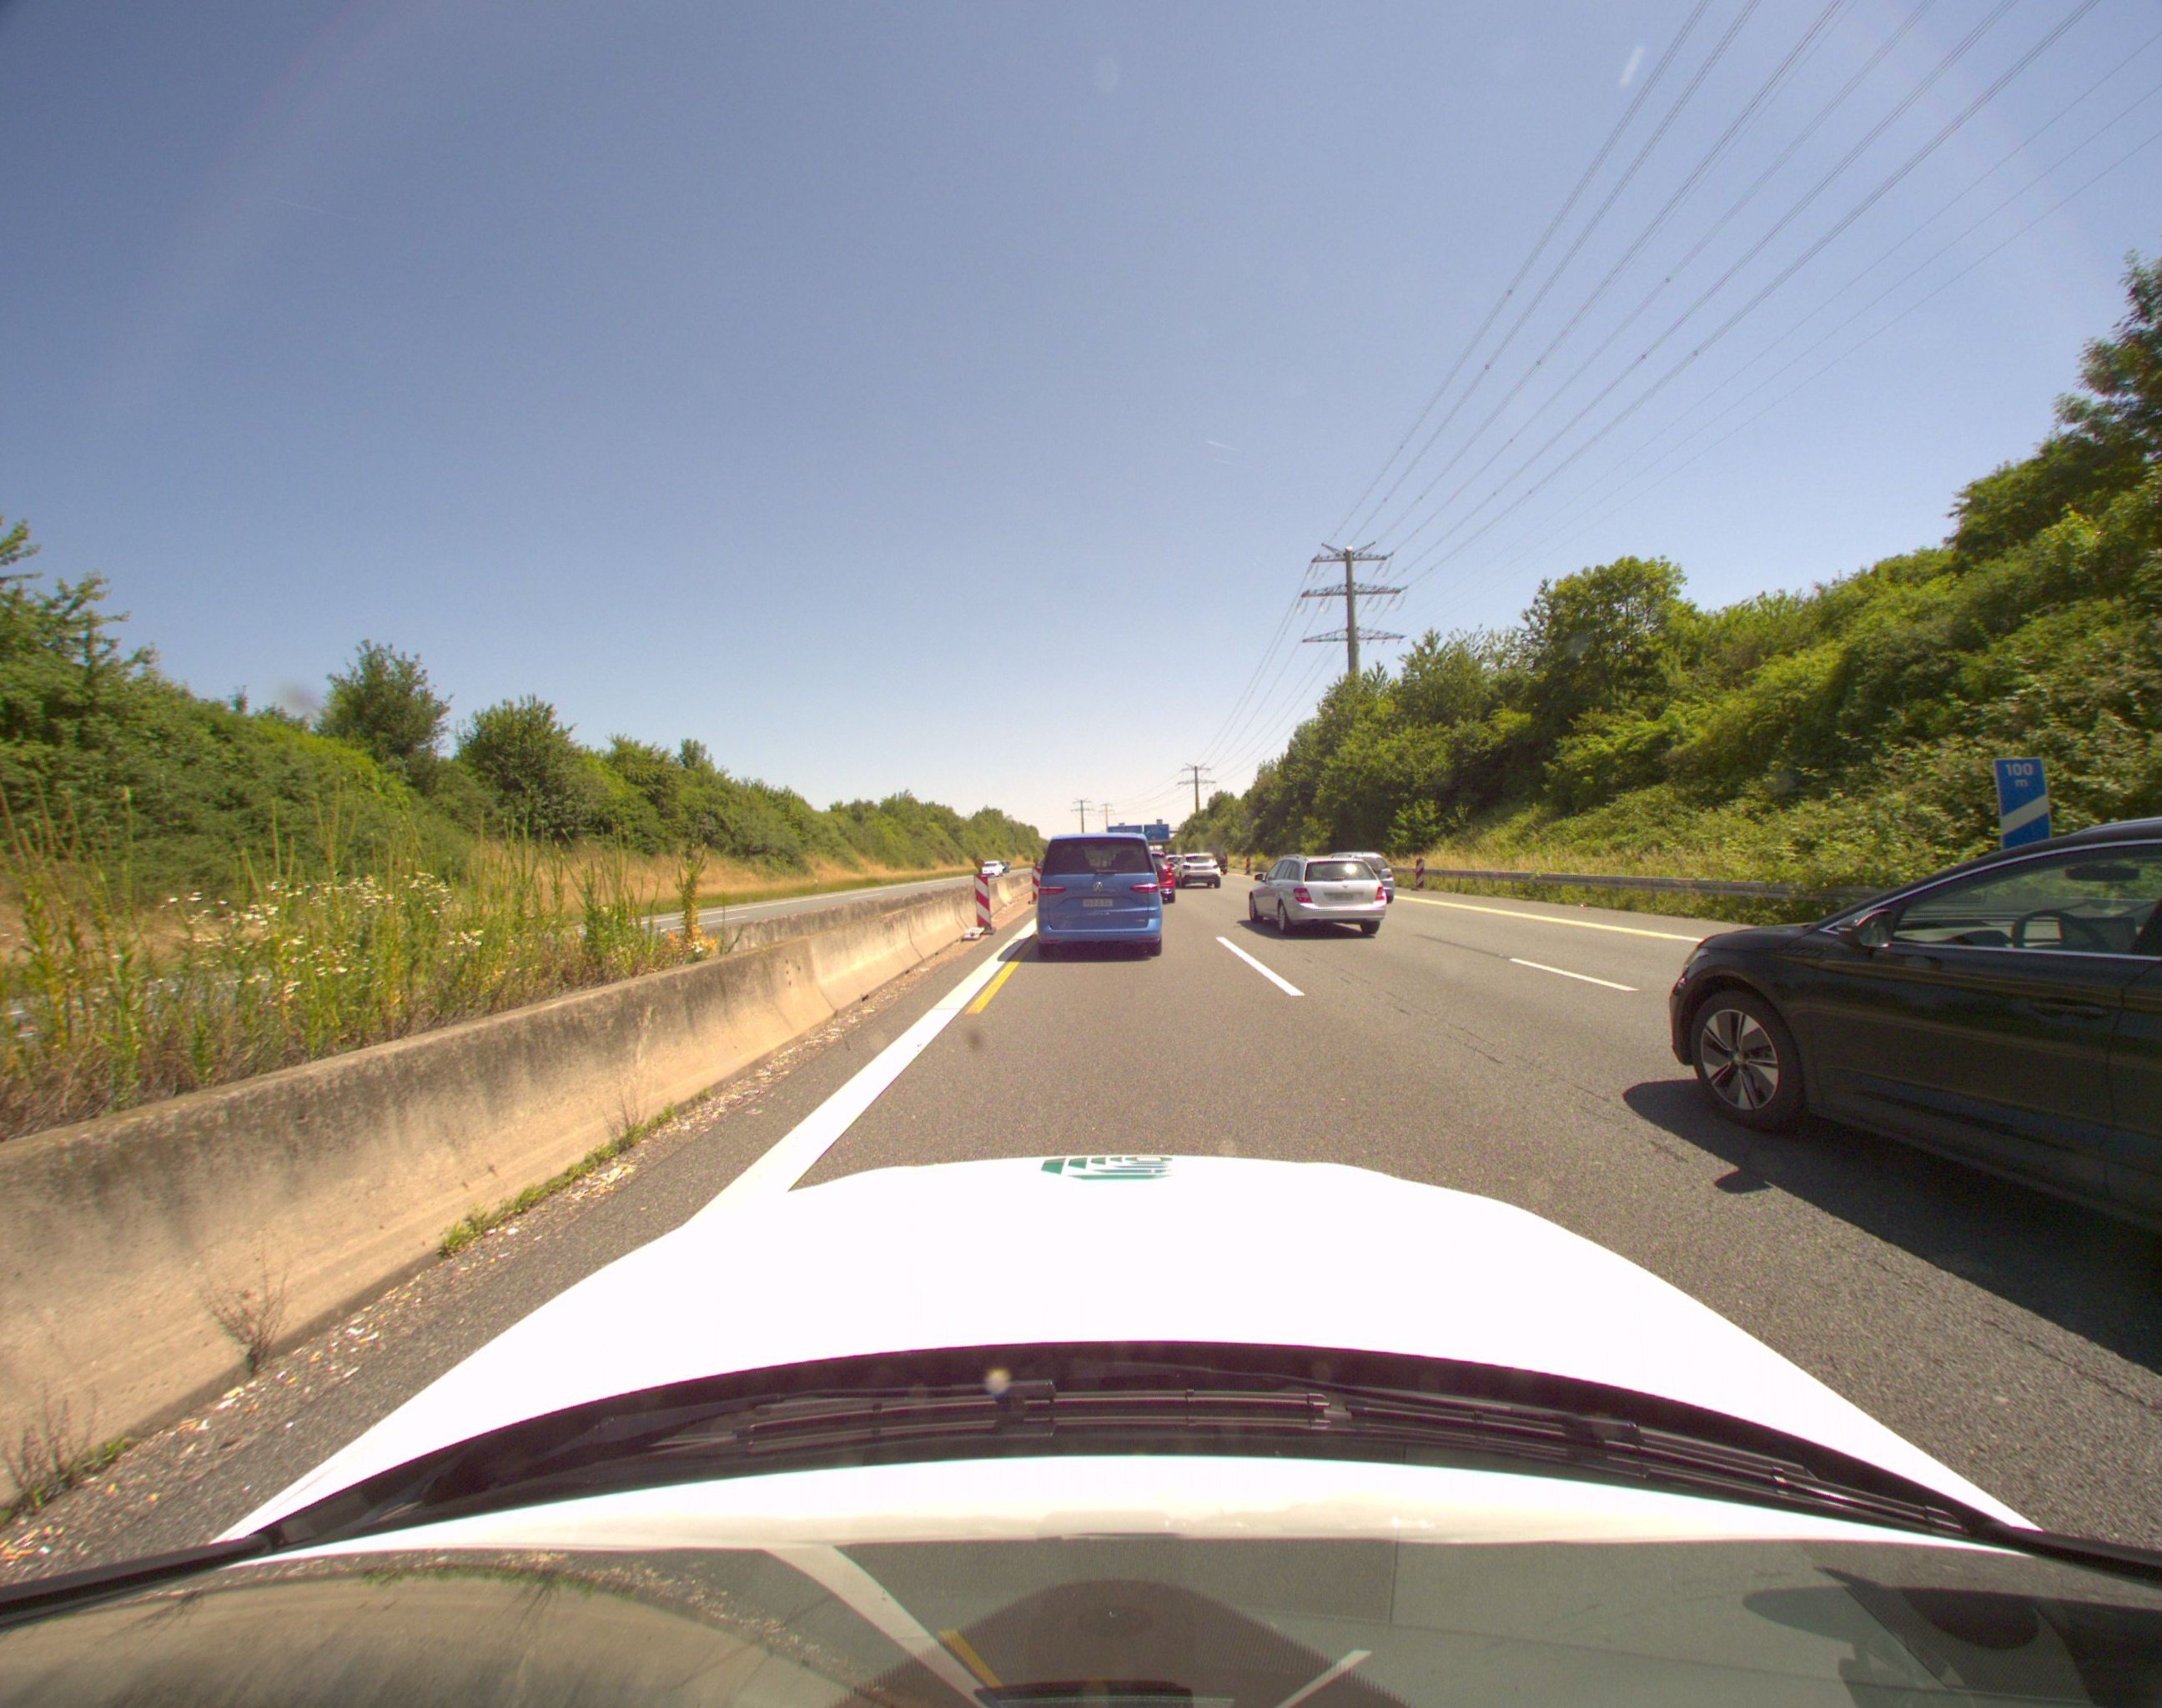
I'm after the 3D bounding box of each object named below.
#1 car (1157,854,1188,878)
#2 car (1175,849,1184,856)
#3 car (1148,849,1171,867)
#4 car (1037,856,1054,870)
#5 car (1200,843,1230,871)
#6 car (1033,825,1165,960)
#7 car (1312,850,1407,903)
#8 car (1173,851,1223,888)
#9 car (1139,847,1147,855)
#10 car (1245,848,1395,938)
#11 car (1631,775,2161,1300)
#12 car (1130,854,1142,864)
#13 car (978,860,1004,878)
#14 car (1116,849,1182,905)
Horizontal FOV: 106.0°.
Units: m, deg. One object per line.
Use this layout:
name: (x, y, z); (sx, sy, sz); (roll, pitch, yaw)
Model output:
car: (6.249, 0.838, 56.178); (1.791, 1.594, 4.228); (0, 0, 2)
car: (24.828, -0.408, 205.897); (1.868, 1.671, 4.360); (0, 0, 1)
car: (6.887, 0.366, 71.961); (1.791, 1.594, 4.228); (0, 0, 2)
car: (-4.472, 1.143, 102.916); (1.767, 1.699, 4.171); (0, 0, 1)
car: (10.042, 0.234, 61.195); (1.790, 2.014, 4.231); (0, 0, 4)
car: (0.294, 0.563, 13.760); (1.868, 1.912, 4.360); (0, 0, 1)
car: (8.294, 0.635, 24.570); (1.694, 1.448, 3.789); (0, 0, 2)
car: (5.293, 0.663, 37.354); (1.791, 1.594, 4.228); (0, 0, 2)
car: (18.560, -0.885, 244.116); (2.368, 2.428, 4.228); (0, 0, 2)
car: (4.507, 0.680, 16.052); (1.764, 1.517, 4.360); (0, 0, 1)
car: (4.253, 0.576, 2.864); (1.695, 1.655, 4.430); (0, 0, 1)
car: (8.786, 0.802, 130.421); (1.791, 1.594, 4.228); (0, 0, 2)
car: (-8.904, 1.468, 80.952); (1.986, 1.662, 4.231); (-3, 0, 2)
car: (2.126, 0.704, 26.651); (1.868, 1.671, 4.360); (0, 0, 1)
